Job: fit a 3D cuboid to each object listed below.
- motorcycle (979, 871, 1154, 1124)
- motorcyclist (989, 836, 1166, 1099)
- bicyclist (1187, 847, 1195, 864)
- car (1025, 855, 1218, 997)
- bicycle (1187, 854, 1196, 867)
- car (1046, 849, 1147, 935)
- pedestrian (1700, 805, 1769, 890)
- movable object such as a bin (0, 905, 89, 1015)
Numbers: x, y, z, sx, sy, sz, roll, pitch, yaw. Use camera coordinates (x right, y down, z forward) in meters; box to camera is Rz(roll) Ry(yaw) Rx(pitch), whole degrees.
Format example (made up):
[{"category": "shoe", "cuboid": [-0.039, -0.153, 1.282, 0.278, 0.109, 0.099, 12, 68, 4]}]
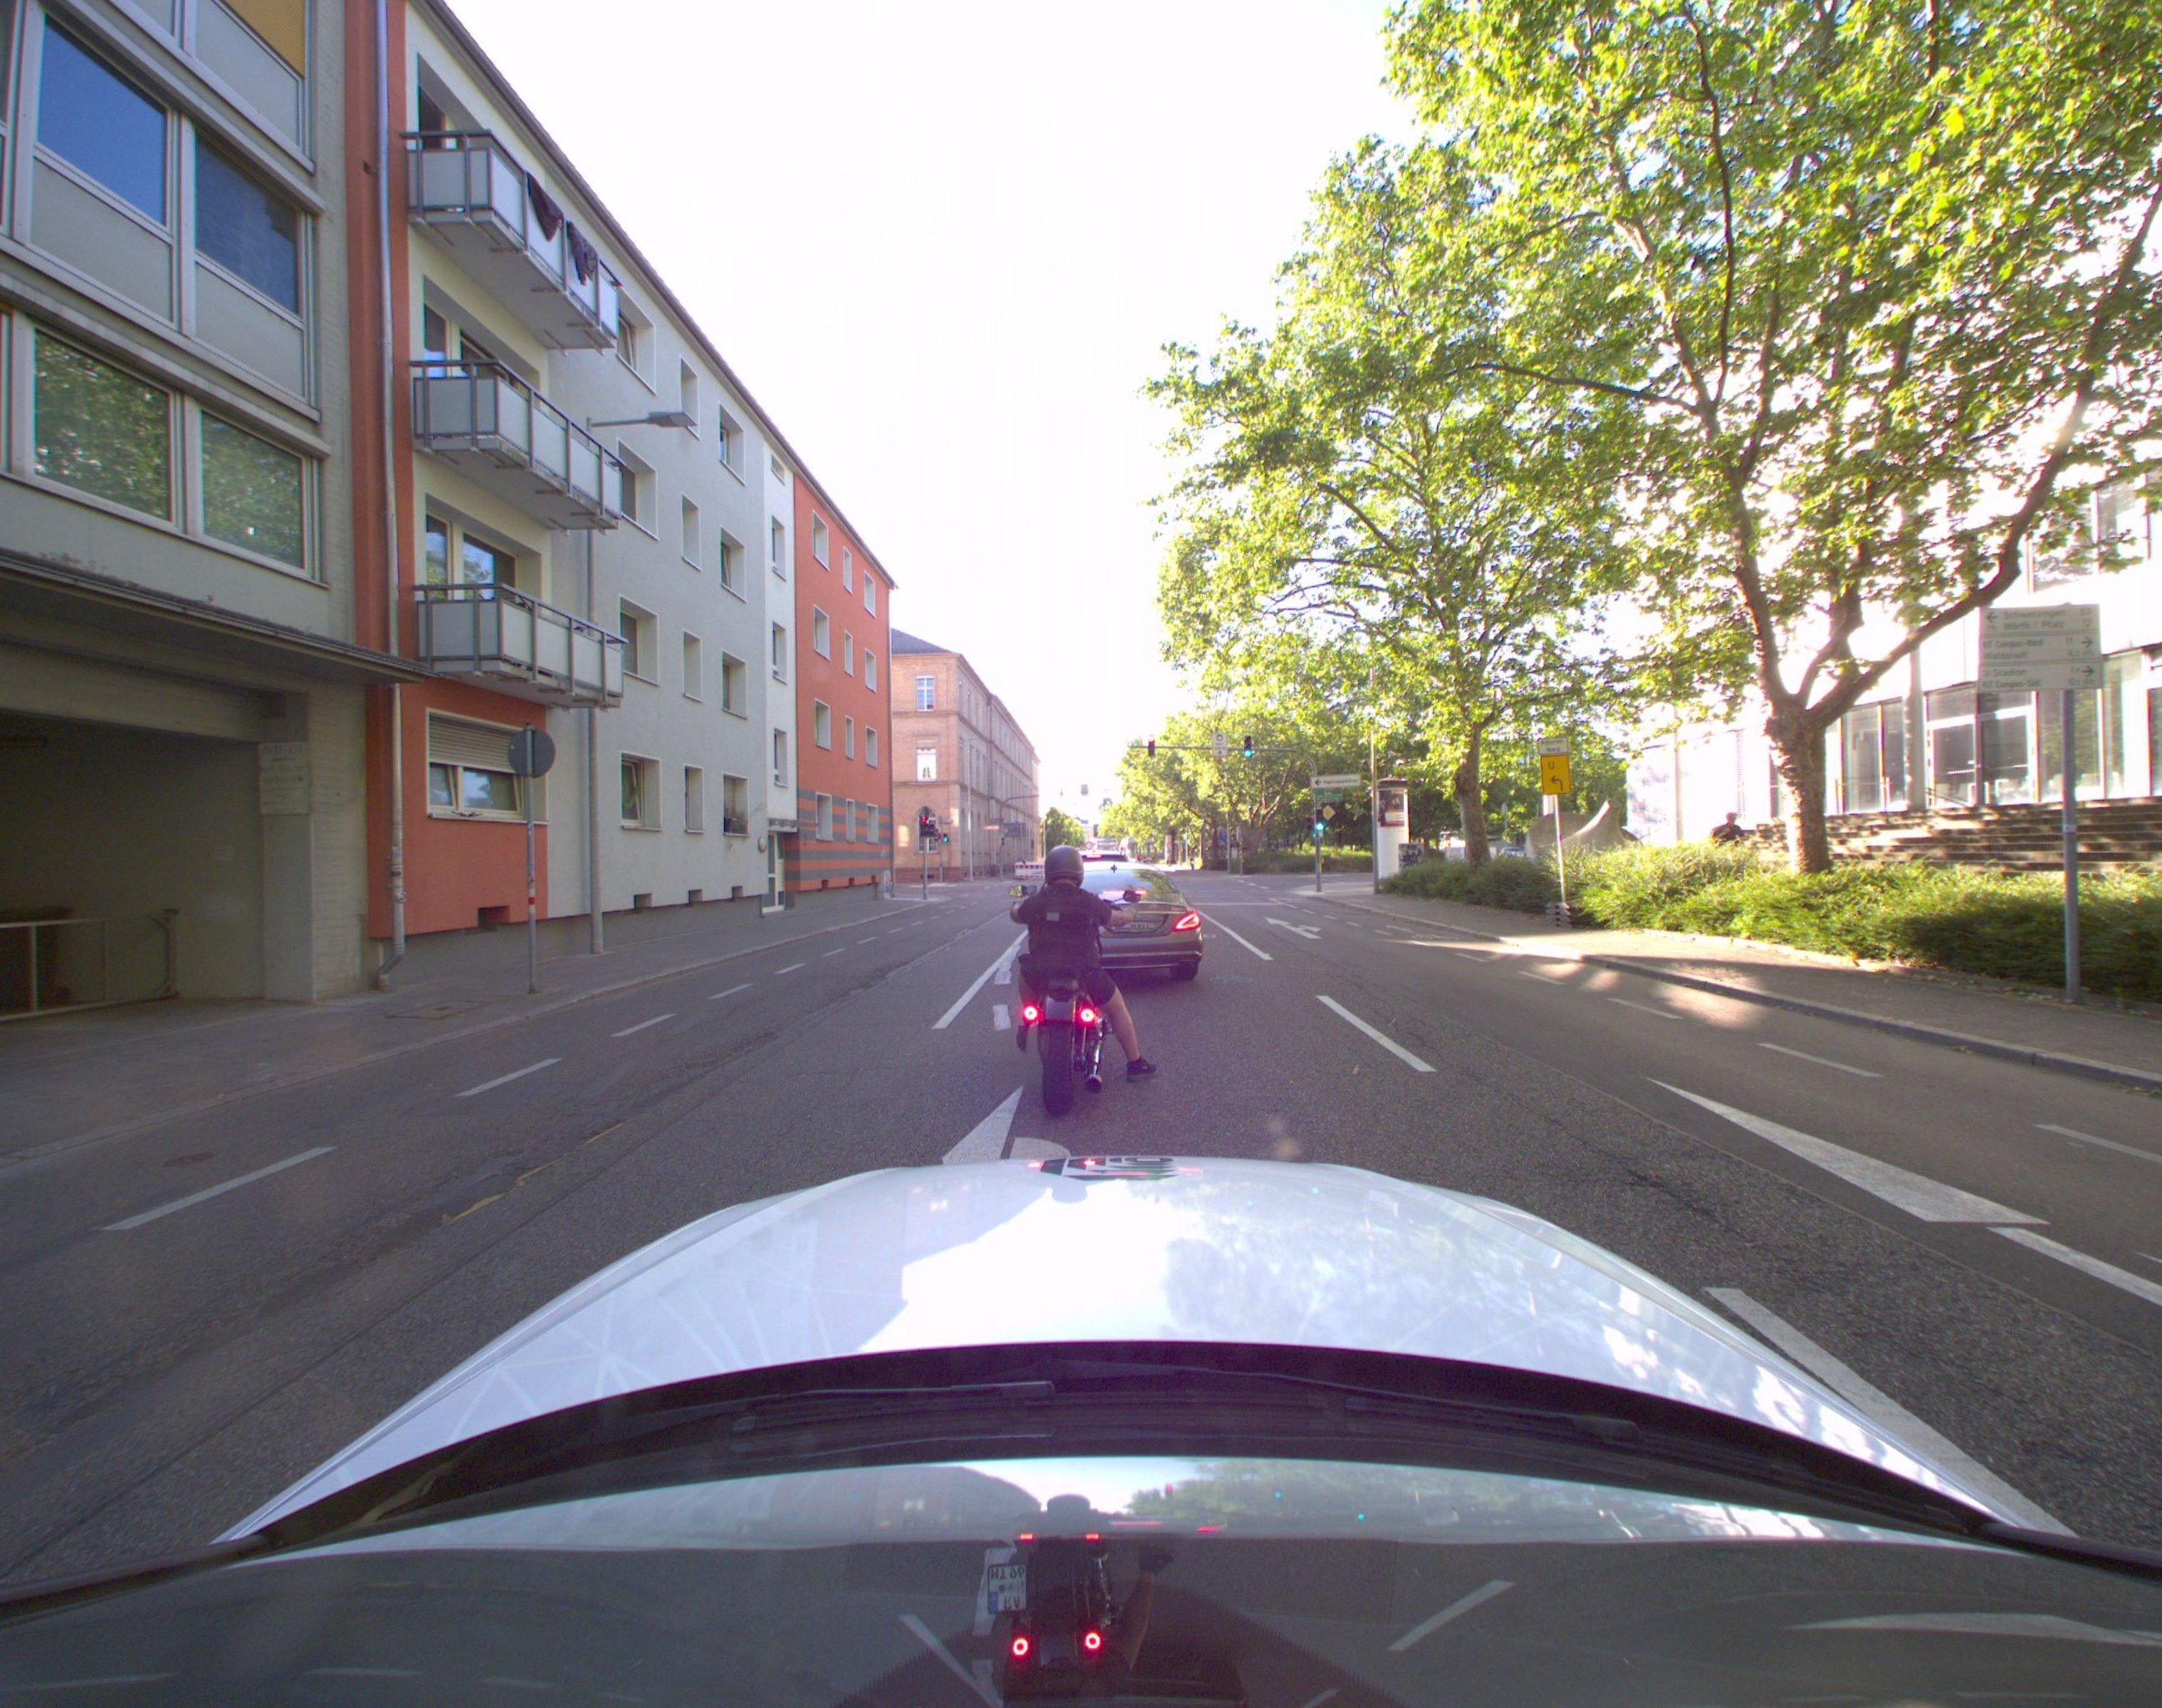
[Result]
[{"category": "motorcycle", "cuboid": [-0.045, 0.816, 5.649, 0.958, 1.357, 2.321, 0, -1, 2]}, {"category": "motorcyclist", "cuboid": [-0.010, 0.691, 5.379, 1.057, 1.582, 0.908, 0, -1, 1]}, {"category": "bicyclist", "cuboid": [10.205, 0.125, 75.393, 0.712, 1.582, 0.938, 0, -1, 7]}, {"category": "car", "cuboid": [0.296, 0.761, 10.780, 1.900, 1.441, 4.279, -1, 0, -6]}, {"category": "bicycle", "cuboid": [10.217, 0.573, 75.369, 0.712, 1.172, 2.179, 0, -1, 6]}, {"category": "car", "cuboid": [0.264, 0.699, 16.884, 1.808, 1.536, 3.847, -1, 0, -1]}, {"category": "pedestrian", "cuboid": [14.061, -0.135, 17.545, 0.781, 1.781, 0.862, -1, 0, 0]}, {"category": "movable object such as a bin", "cuboid": [-11.329, 1.101, 8.636, 0.736, 1.074, 0.716, 0, -1, 2]}]
